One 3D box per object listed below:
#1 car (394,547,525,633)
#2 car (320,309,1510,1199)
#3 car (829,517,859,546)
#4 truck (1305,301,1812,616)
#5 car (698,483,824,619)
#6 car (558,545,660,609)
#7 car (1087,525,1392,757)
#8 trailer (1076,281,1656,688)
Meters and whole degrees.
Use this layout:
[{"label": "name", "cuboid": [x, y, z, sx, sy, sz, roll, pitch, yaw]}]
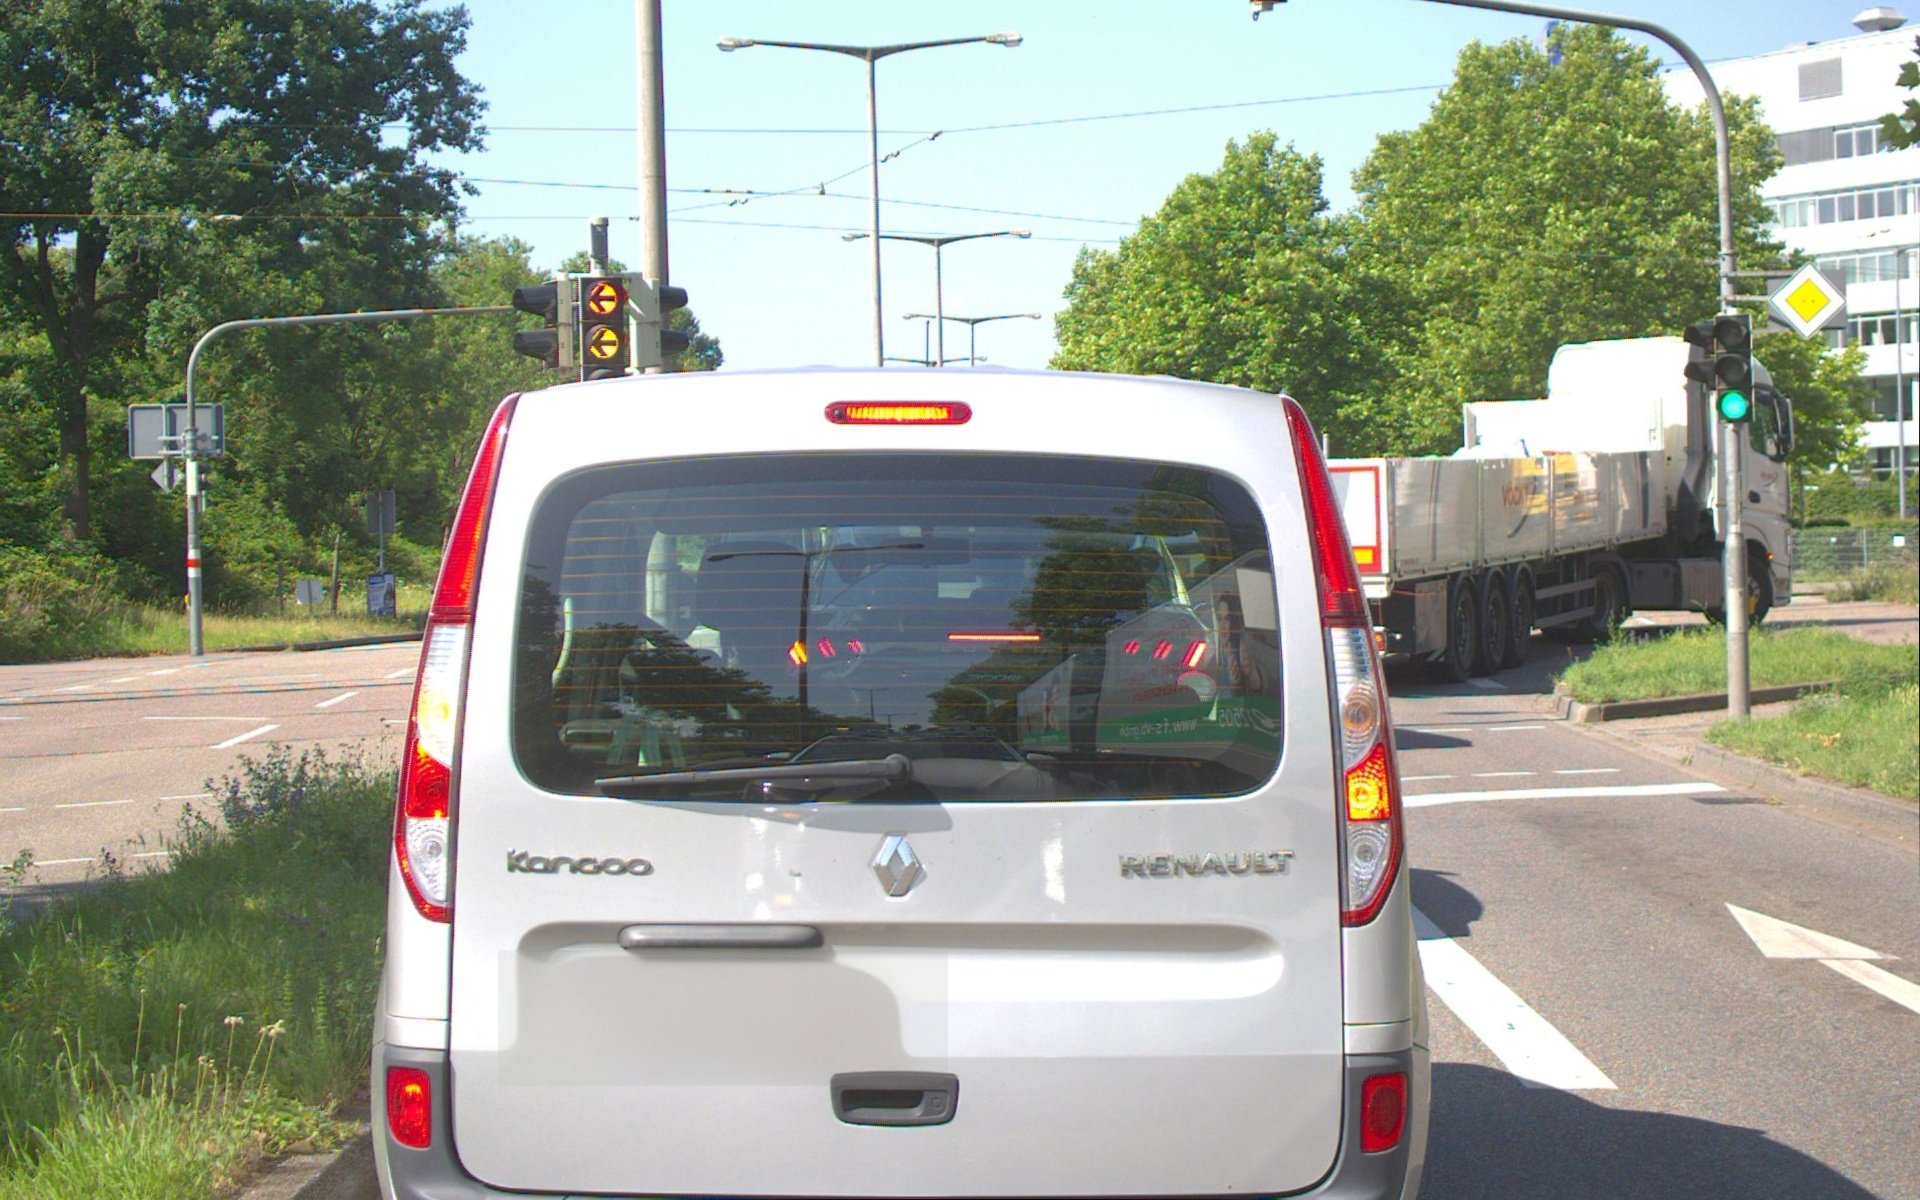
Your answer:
[{"label": "car", "cuboid": [-9.997, -0.210, 68.967, 1.911, 1.636, 3.737, -1, 0, 2]}, {"label": "car", "cuboid": [-0.094, 0.468, 7.218, 1.786, 1.831, 4.000, 1, 1, -1]}, {"label": "car", "cuboid": [-8.431, -4.955, 249.977, 1.888, 2.007, 4.000, 1, 1, 2]}, {"label": "truck", "cuboid": [7.653, -1.646, 43.229, 2.917, 3.630, 7.172, 1, 1, 41]}, {"label": "car", "cuboid": [-3.993, -0.978, 69.674, 1.994, 2.598, 5.133, -1, 0, 2]}, {"label": "car", "cuboid": [-8.971, -0.596, 88.204, 1.994, 1.535, 4.236, -1, 0, 2]}, {"label": "car", "cuboid": [2.018, 0.261, 26.015, 1.875, 1.586, 4.434, 1, 1, -1]}, {"label": "trailer", "cuboid": [4.804, -1.077, 36.889, 2.903, 3.610, 12.671, 1, 1, 22]}]
